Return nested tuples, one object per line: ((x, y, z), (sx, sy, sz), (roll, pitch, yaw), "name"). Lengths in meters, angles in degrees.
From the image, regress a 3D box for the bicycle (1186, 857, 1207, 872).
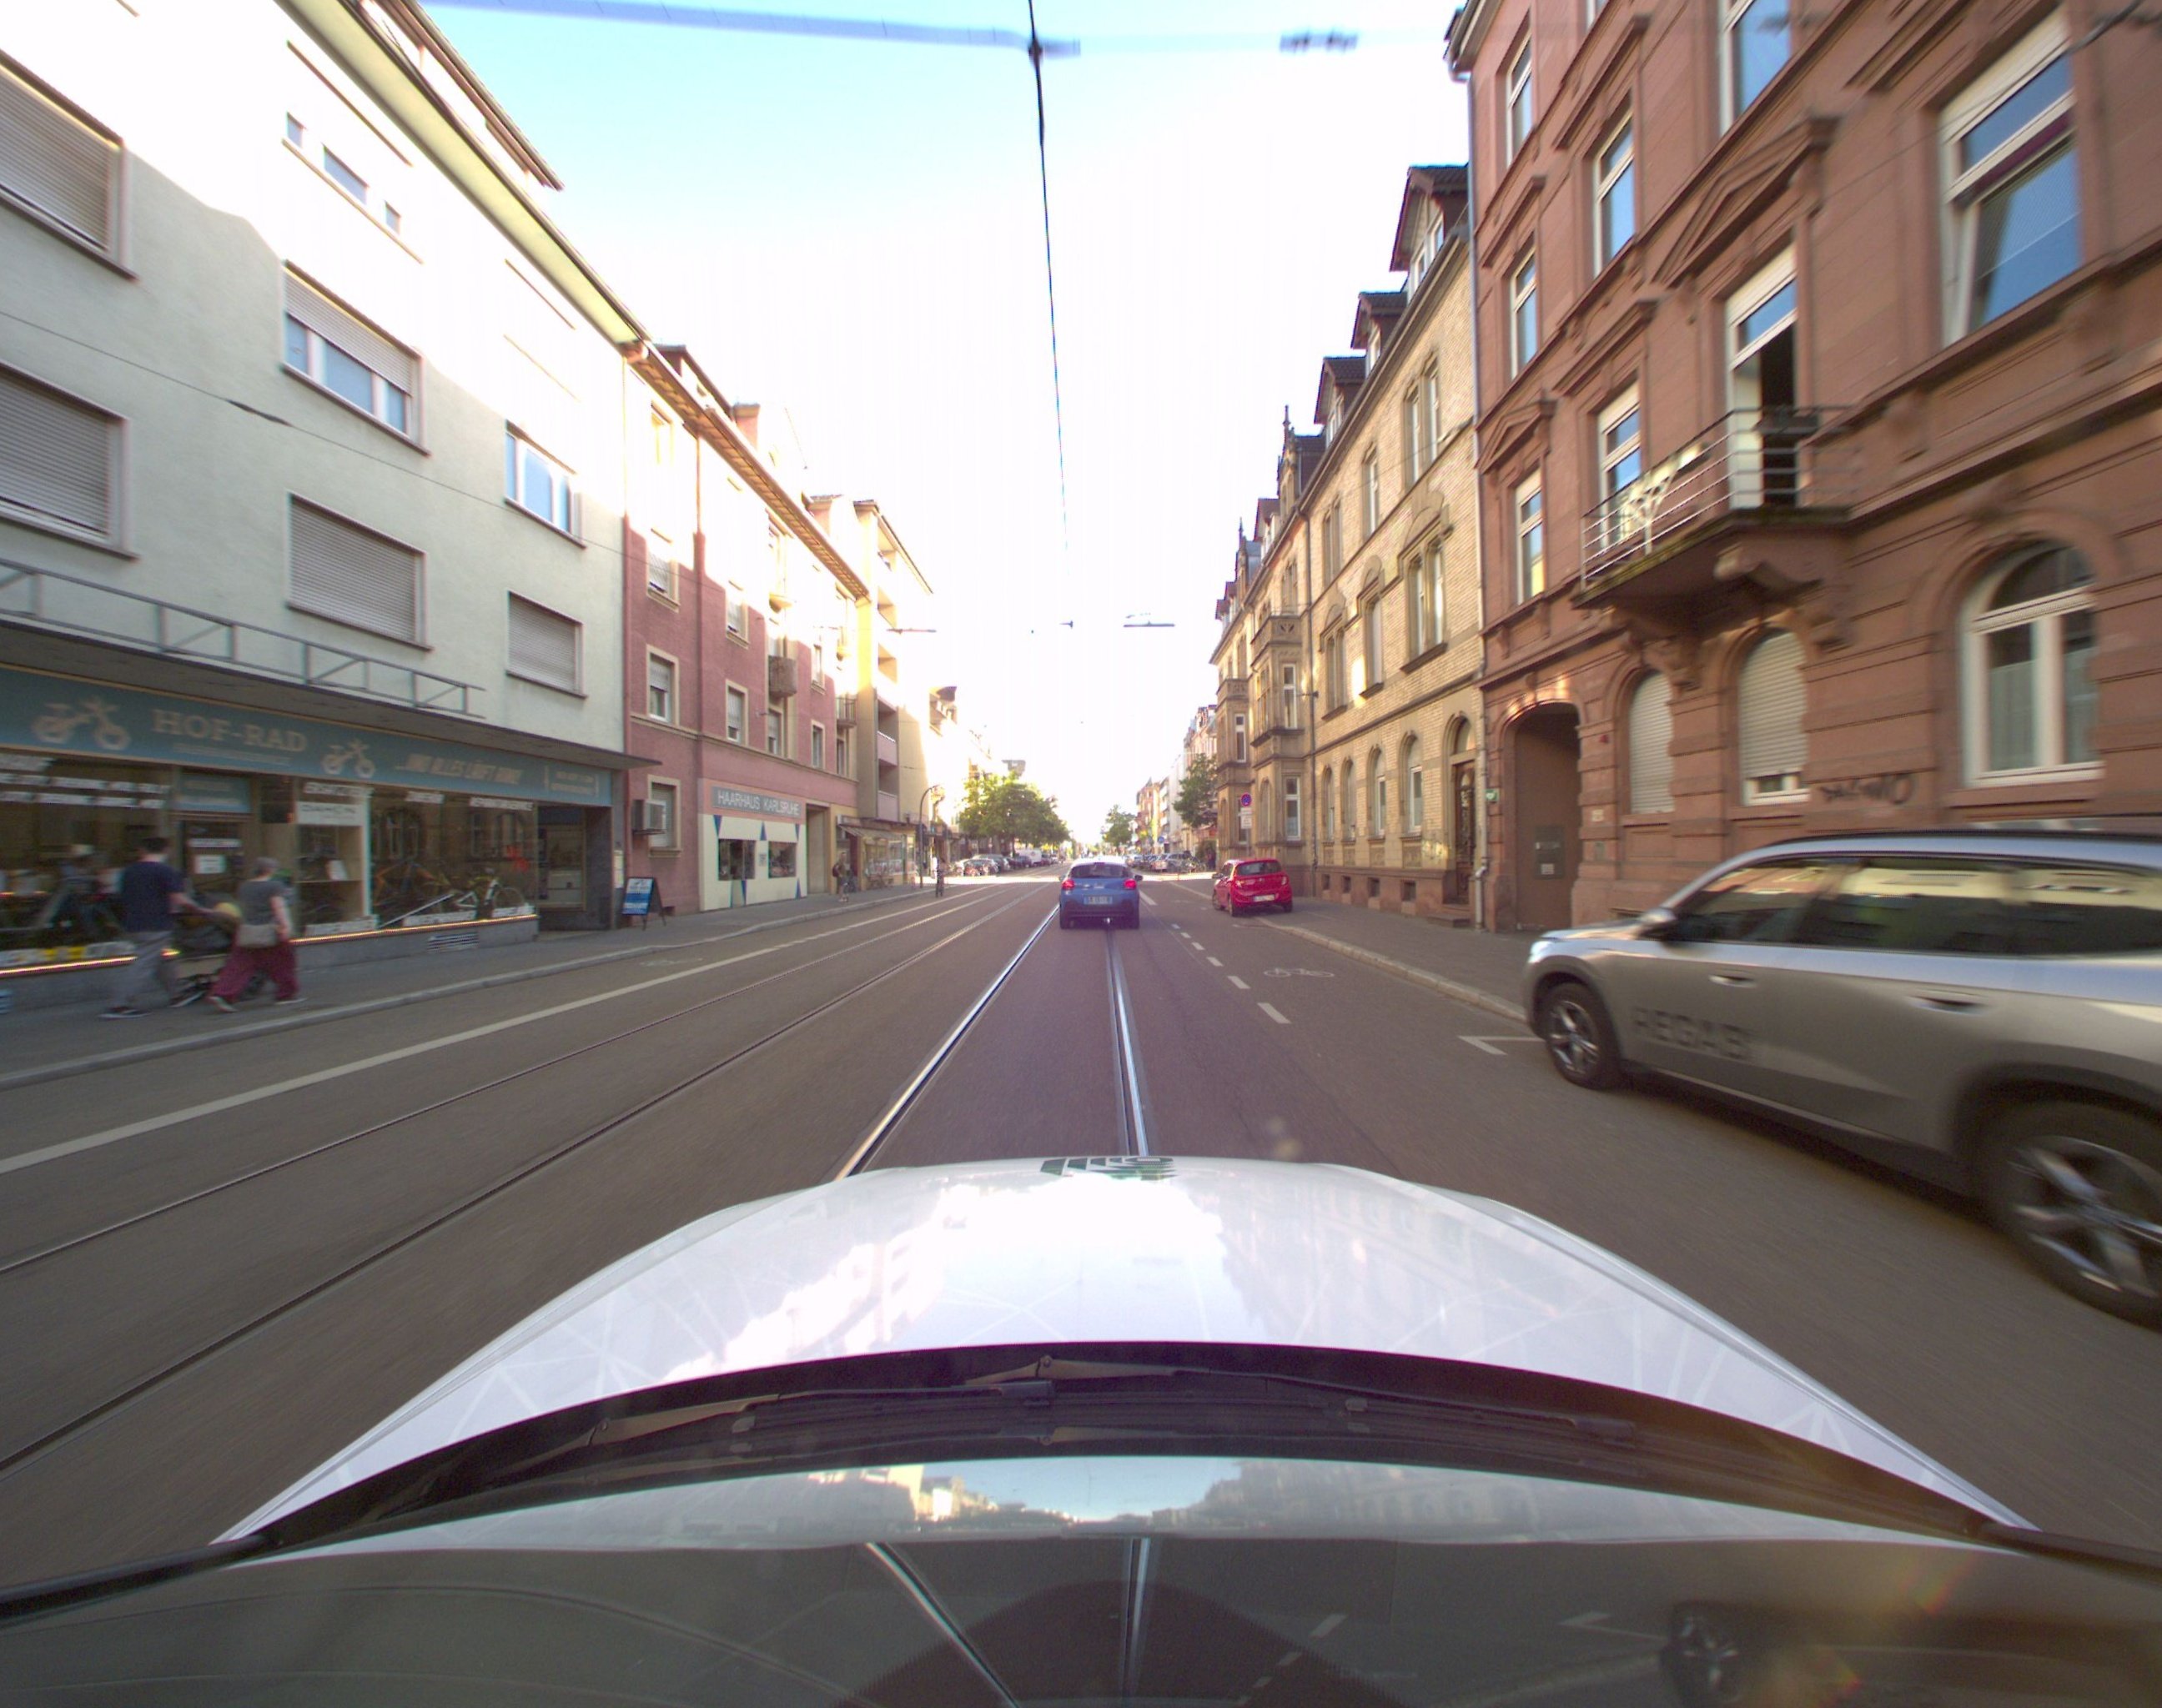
((8.823, 0.779, 62.174), (1.547, 1.127, 0.552), (0, -1, 7), "bicycle")

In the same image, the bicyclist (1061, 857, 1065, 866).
((-3.413, 1.414, 152.125), (0.632, 1.681, 0.727), (0, -1, 1), "bicyclist")

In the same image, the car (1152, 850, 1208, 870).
((8.270, 0.489, 67.919), (4.371, 1.596, 1.839), (0, -1, -24), "car")

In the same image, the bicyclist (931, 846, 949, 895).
((-5.910, 0.691, 34.083), (0.609, 2.014, 0.734), (0, -1, 1), "bicyclist")

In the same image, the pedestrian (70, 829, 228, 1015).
((-9.417, 0.660, 8.267), (0.623, 1.789, 0.821), (0, -1, 1), "pedestrian")

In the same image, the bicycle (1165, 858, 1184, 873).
((7.192, 0.852, 62.546), (1.394, 1.127, 0.551), (0, -1, -4), "bicycle")

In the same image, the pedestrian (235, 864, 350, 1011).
((-8.629, 0.885, 8.937), (0.633, 1.548, 0.624), (0, -1, 1), "pedestrian")

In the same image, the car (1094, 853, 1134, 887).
((1.585, 0.758, 39.801), (1.866, 1.596, 4.001), (0, -1, 2), "car")

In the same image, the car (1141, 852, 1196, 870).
((7.911, 0.648, 73.694), (4.454, 1.596, 2.072), (0, -1, -24), "car")

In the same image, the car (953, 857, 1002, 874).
((-8.863, 1.004, 69.661), (3.805, 1.400, 1.737), (0, -1, -32), "car")

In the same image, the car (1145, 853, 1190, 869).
((8.620, 0.715, 81.008), (4.005, 1.596, 1.944), (0, -1, -24), "car")

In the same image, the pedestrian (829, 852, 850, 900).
((-8.543, 0.769, 28.802), (0.561, 1.686, 0.616), (0, -1, 0), "pedestrian")

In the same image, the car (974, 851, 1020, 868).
((-8.815, 0.606, 85.792), (4.381, 1.783, 1.976), (0, -1, -32), "car")

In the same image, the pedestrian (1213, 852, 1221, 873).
((11.447, 0.717, 68.625), (0.516, 1.778, 0.864), (0, -1, 1), "pedestrian")

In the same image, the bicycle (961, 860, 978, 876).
((-8.692, 1.108, 63.552), (0.686, 1.123, 1.870), (-1, 2, -30), "bicycle")

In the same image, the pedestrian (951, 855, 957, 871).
((-12.982, 0.922, 83.234), (0.567, 1.652, 0.641), (0, -1, 1), "pedestrian")

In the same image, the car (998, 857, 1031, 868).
((-8.609, 1.108, 105.538), (3.994, 1.489, 1.797), (0, -1, -16), "car")

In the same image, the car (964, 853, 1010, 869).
((-8.986, 0.640, 77.804), (4.032, 1.449, 1.682), (0, -1, -32), "car")

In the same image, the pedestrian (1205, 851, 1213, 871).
((10.751, 0.604, 68.312), (0.516, 1.648, 0.864), (0, -1, 1), "pedestrian")

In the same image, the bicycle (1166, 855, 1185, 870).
((7.503, 0.687, 64.626), (1.551, 1.127, 0.295), (0, -1, 7), "bicycle")

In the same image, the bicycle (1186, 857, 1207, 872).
((8.885, 0.829, 62.750), (1.547, 1.127, 0.529), (0, -1, 7), "bicycle")

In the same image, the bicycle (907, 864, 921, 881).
((-11.996, 1.336, 58.513), (0.680, 1.109, 2.431), (0, 2, -5), "bicycle")

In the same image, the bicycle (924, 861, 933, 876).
((-11.884, 1.131, 63.474), (0.404, 1.109, 1.825), (-1, -1, -20), "bicycle")

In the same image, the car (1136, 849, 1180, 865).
((8.161, 0.338, 86.388), (4.322, 1.596, 1.967), (0, -1, -24), "car")

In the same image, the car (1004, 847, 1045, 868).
((-7.748, 0.486, 111.544), (5.402, 2.749, 1.789), (0, -1, -29), "car")

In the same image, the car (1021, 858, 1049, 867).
((-6.884, 1.310, 122.055), (3.815, 1.265, 1.504), (0, -1, -25), "car")

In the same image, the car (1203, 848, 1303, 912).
((4.660, 0.671, 22.696), (1.859, 1.483, 4.401), (-4, -1, 1), "car")

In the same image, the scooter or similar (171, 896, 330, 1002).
((-9.384, 1.044, 9.255), (0.659, 1.061, 1.105), (0, 0, 2), "scooter or similar")

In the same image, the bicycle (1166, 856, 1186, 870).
((7.470, 0.708, 64.291), (1.547, 1.079, 0.308), (0, -1, 7), "bicycle")

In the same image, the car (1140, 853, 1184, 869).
((8.324, 0.741, 83.774), (4.005, 1.596, 2.071), (0, -1, -24), "car")

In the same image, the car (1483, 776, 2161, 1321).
((4.122, 0.599, 4.110), (1.861, 1.646, 4.396), (0, -1, -3), "car")

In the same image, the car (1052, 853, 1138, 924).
((0.327, 0.728, 18.421), (1.756, 1.441, 3.557), (0, -1, 1), "car")

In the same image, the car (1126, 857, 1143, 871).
((6.482, 1.235, 98.505), (1.866, 1.596, 4.721), (0, -1, 2), "car")

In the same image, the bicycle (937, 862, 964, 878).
((-10.106, 1.213, 62.928), (2.405, 1.109, 0.688), (1, 2, 41), "bicycle")

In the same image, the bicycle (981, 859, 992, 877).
((-7.356, 1.101, 63.780), (0.680, 1.319, 2.433), (0, 2, -3), "bicycle")

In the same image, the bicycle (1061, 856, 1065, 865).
((-3.394, 1.292, 152.069), (0.678, 1.679, 2.097), (0, -1, 1), "bicycle")

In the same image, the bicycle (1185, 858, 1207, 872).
((8.964, 0.866, 63.359), (1.665, 1.127, 0.552), (0, -1, 7), "bicycle")

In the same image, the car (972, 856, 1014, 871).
((-8.760, 0.956, 80.995), (3.850, 1.430, 1.751), (0, -1, -25), "car")

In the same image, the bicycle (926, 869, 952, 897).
((-5.904, 1.196, 34.034), (0.600, 1.096, 2.045), (-3, -1, 2), "bicycle")

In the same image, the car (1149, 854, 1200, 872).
((8.138, 0.752, 70.985), (4.005, 1.536, 1.903), (0, -1, -24), "car")

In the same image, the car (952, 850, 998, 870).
((-9.707, 0.526, 74.515), (3.831, 1.785, 1.781), (0, -1, -27), "car")
